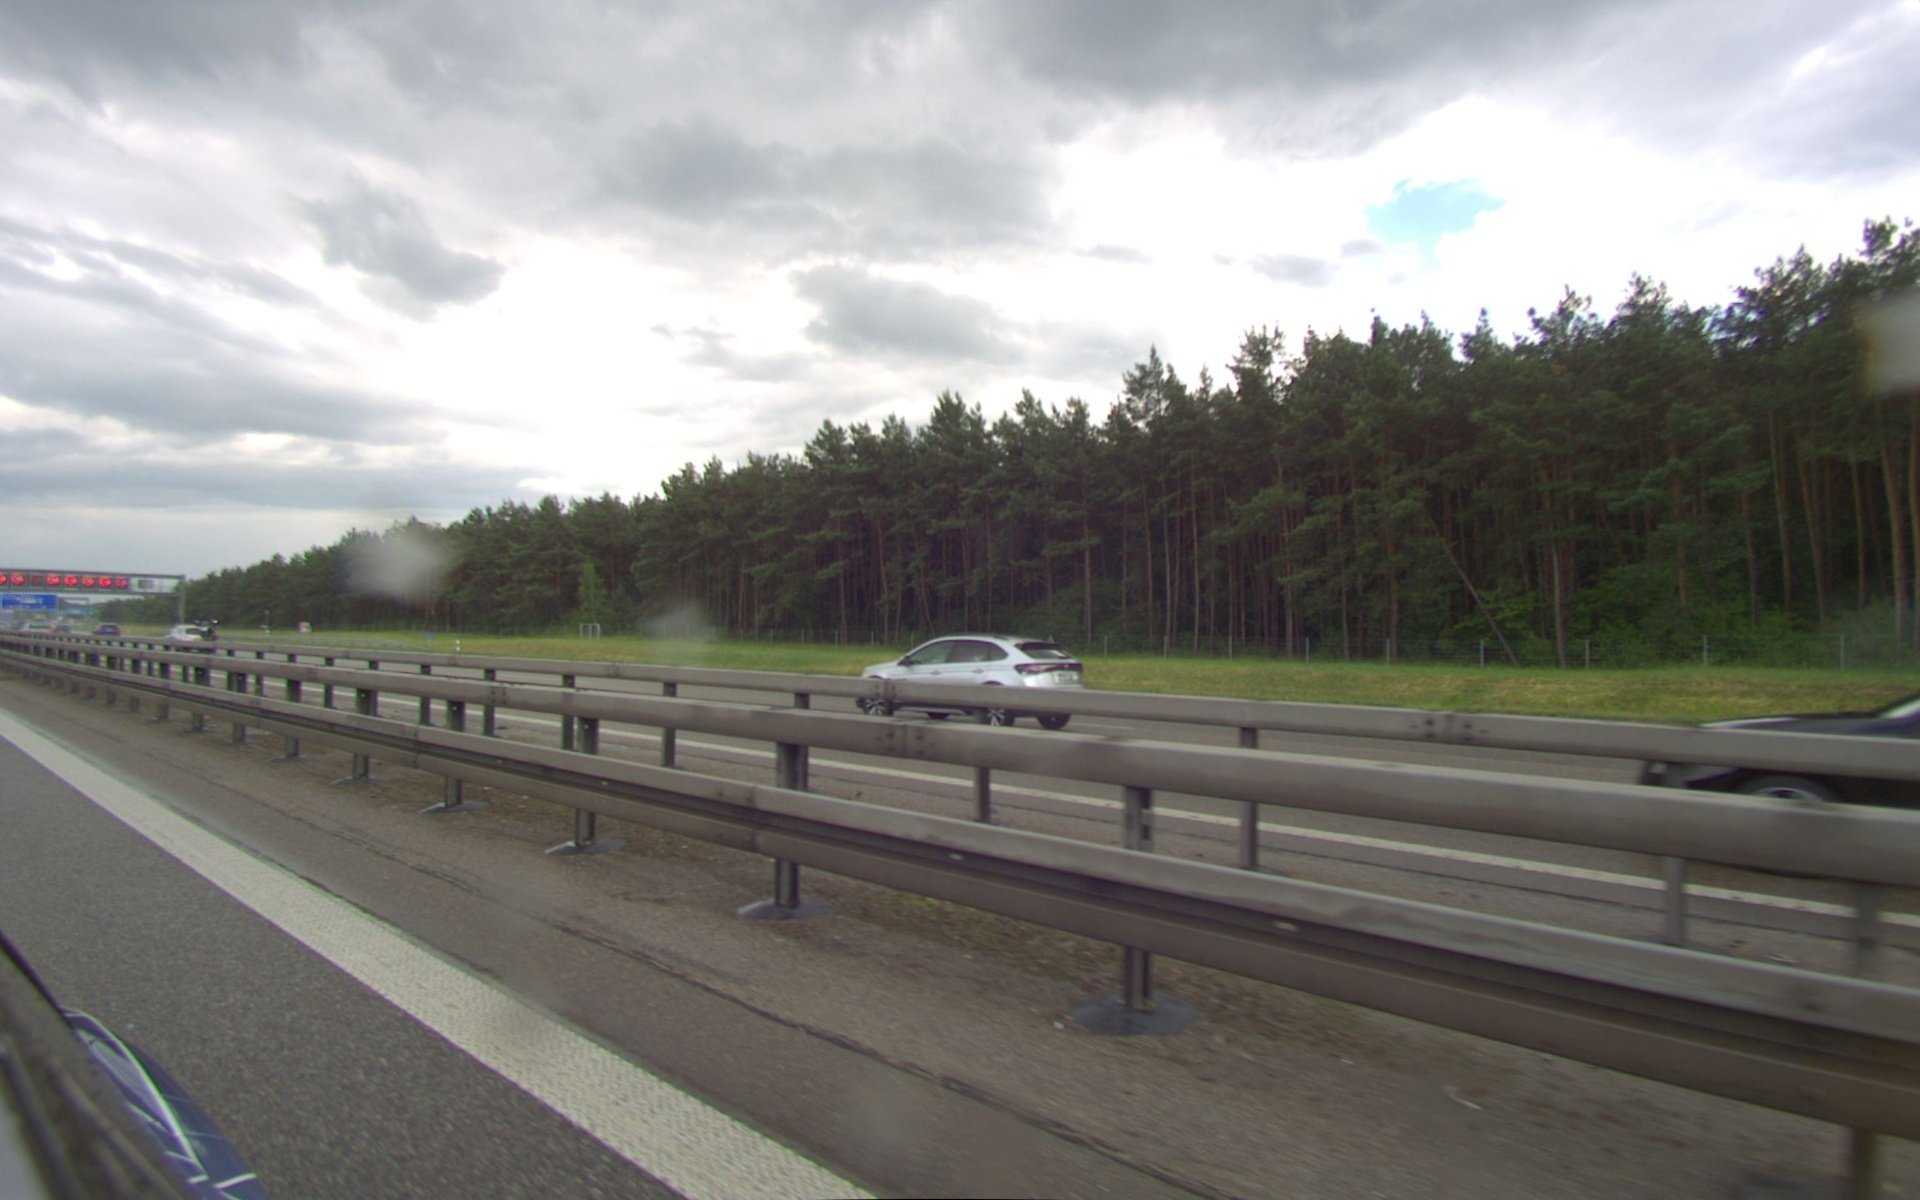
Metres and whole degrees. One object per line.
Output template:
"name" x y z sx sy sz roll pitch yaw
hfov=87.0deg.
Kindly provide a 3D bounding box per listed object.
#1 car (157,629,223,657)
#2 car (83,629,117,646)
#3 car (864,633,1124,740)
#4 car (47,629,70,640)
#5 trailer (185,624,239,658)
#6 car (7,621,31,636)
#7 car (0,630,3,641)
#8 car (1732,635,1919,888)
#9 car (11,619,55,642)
"car" -41.803 2.318 54.900 4.569 1.431 1.810 -1 -4 40
"car" -84.399 3.662 99.283 4.511 1.559 1.880 -1 -4 42
"car" 0.472 1.295 16.328 3.997 1.492 1.710 -1 -3 40
"car" -116.997 4.491 131.290 4.183 1.406 1.705 -1 -4 42
"trailer" -38.770 2.124 52.433 3.206 1.685 1.466 -1 -4 40
"car" -114.703 3.477 123.296 4.136 1.696 1.705 -1 -4 42
"car" -143.900 5.339 150.751 3.847 1.591 1.734 -1 -2 42
"car" 6.835 0.928 5.525 4.089 1.399 1.710 -1 -4 40
"car" -65.828 2.165 71.836 4.400 1.559 1.766 -1 -3 41
